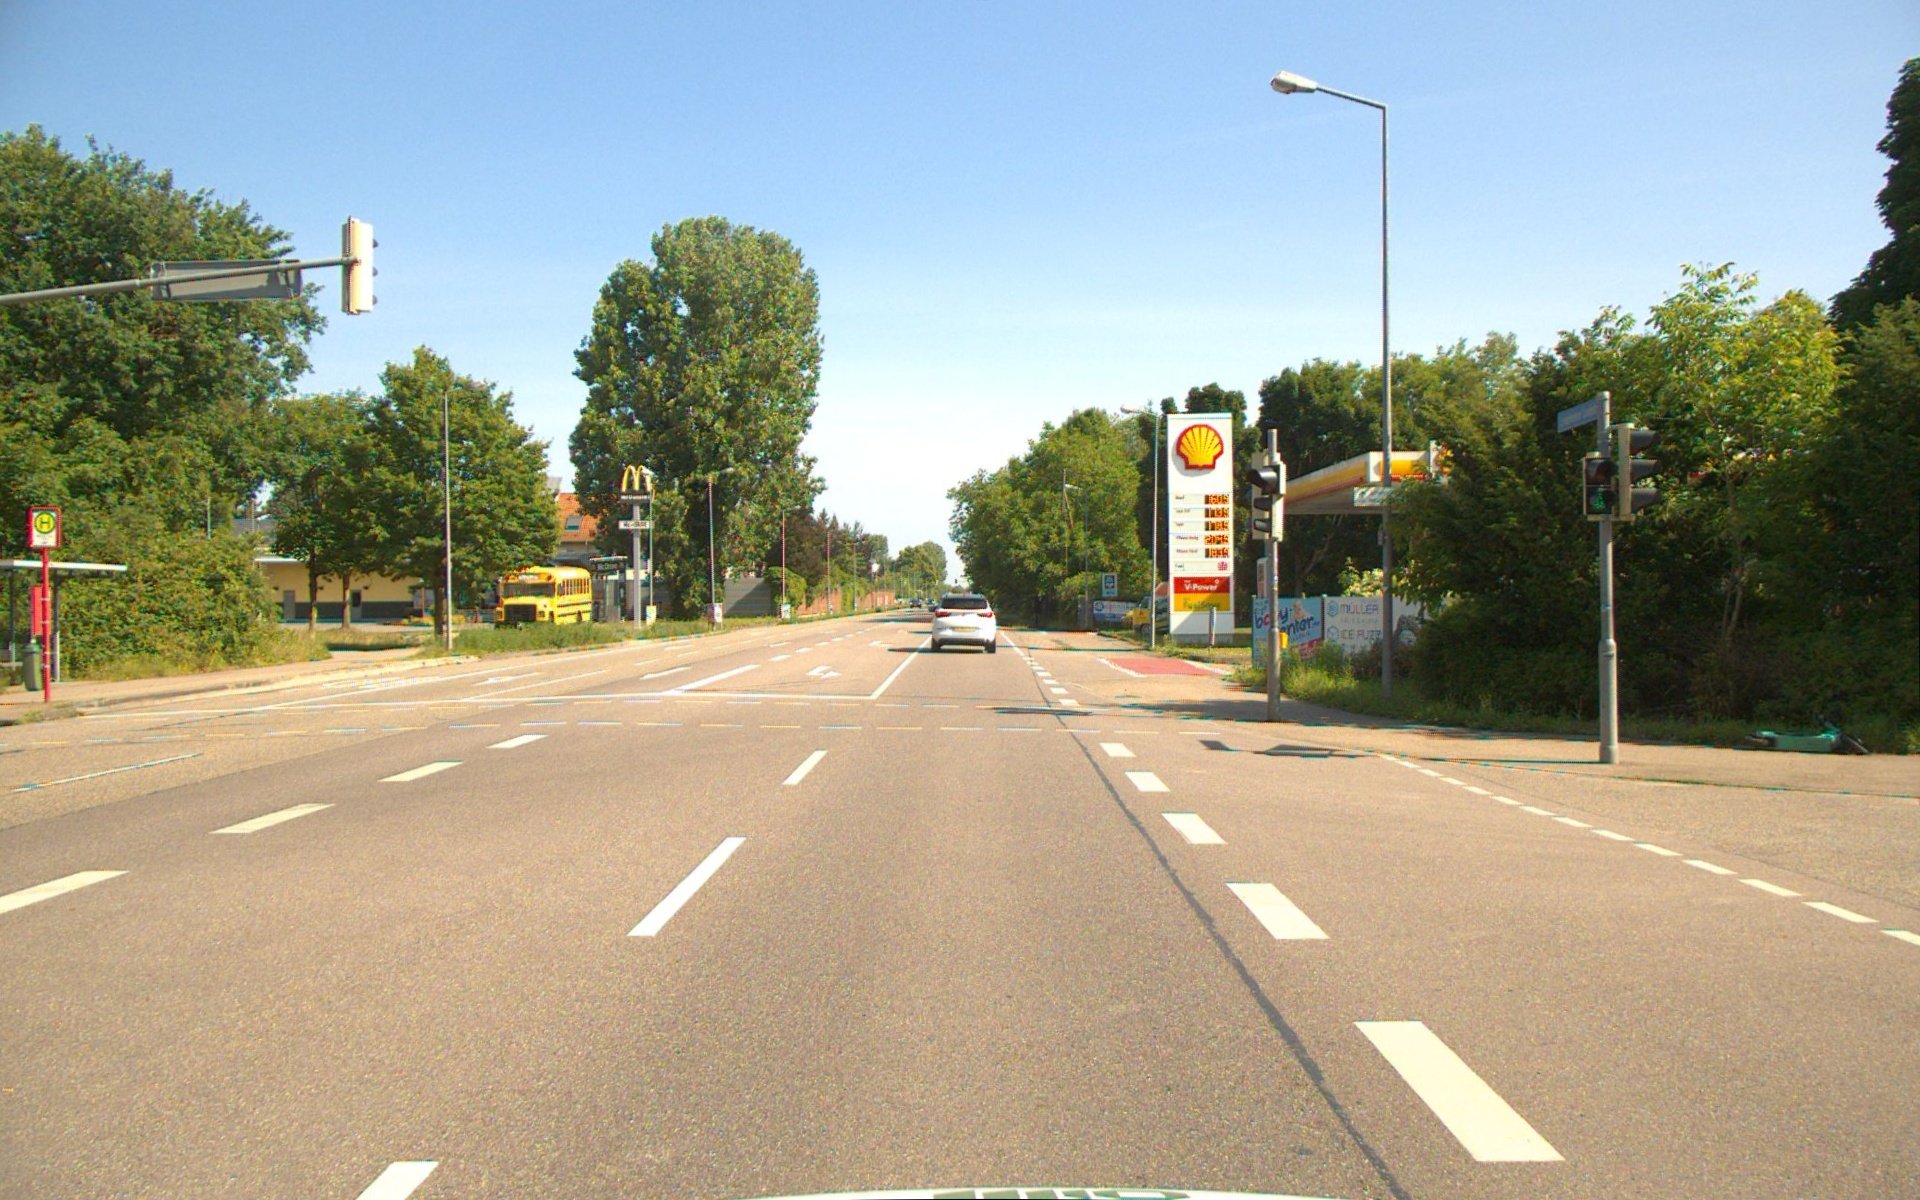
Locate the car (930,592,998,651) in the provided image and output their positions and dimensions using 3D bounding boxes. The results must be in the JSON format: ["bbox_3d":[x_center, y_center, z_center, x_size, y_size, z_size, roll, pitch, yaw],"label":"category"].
[{"bbox_3d":[0.126,0.604,47.106,1.809,1.568,4.224,1,0,0],"label":"car"}]

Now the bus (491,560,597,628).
[{"bbox_3d":[-18.171,-0.221,72.809,2.527,2.726,8.994,1,0,-1],"label":"bus"}]

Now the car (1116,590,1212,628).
[{"bbox_3d":[8.904,0.412,72.240,3.911,1.557,1.583,1,-1,-7],"label":"car"}]

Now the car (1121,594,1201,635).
[{"bbox_3d":[7.747,0.569,63.741,2.685,1.557,1.566,-1,-2,45],"label":"car"}]
